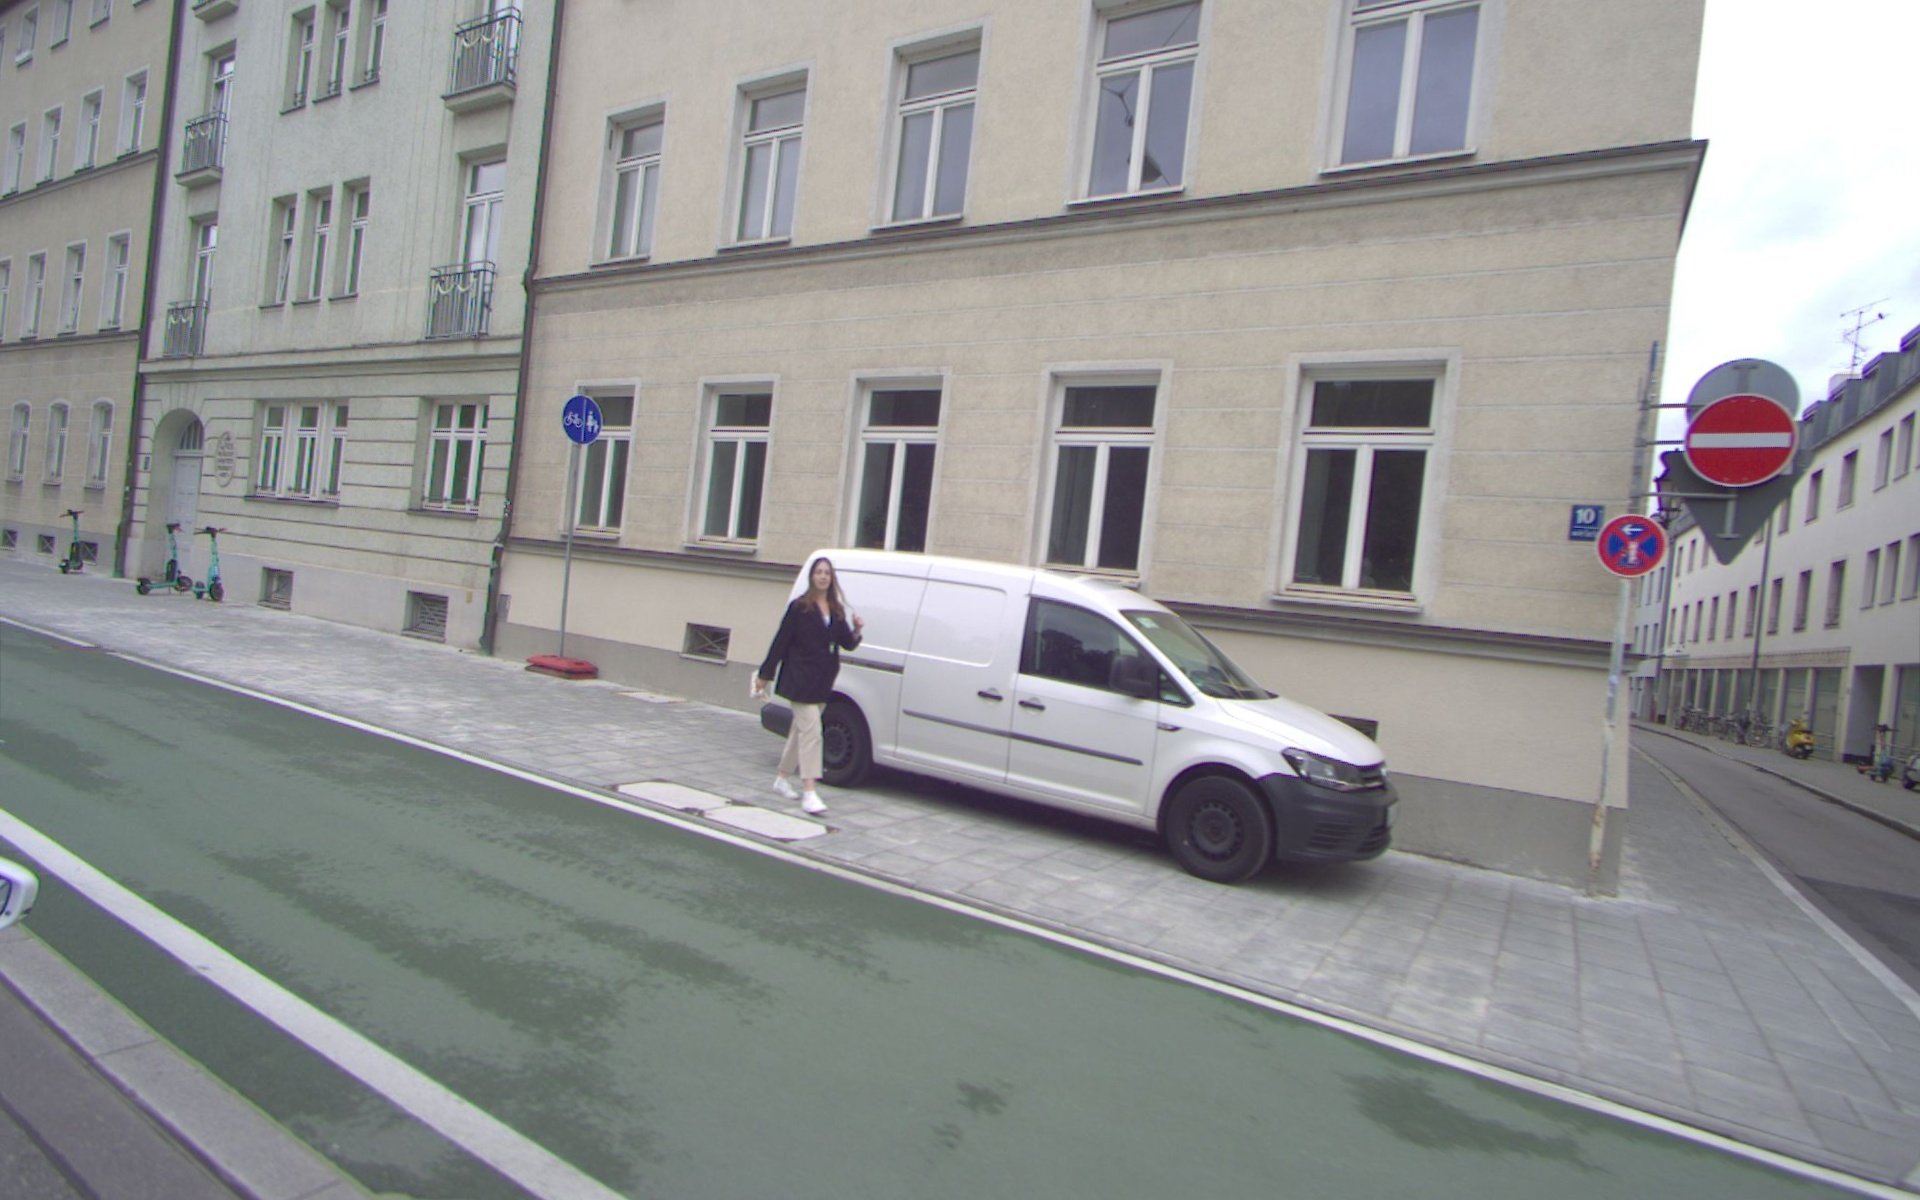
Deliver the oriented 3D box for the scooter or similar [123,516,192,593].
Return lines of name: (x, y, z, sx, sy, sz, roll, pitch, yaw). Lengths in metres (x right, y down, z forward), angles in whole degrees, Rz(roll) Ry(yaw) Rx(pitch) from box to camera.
scooter or similar: (-13.794, -0.763, 17.307, 0.242, 1.247, 1.118, 5, 1, -2)

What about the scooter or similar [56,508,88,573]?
scooter or similar: (-17.768, -1.197, 20.135, 0.244, 1.247, 1.110, 4, 2, -32)

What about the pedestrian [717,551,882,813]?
pedestrian: (-1.109, 0.544, 6.982, 0.725, 1.657, 0.665, 7, 2, 31)

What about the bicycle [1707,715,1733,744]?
bicycle: (30.633, 5.202, 40.540, 0.304, 1.029, 1.775, 7, -1, 23)

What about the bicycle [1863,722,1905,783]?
bicycle: (21.148, 3.485, 23.042, 0.399, 1.270, 1.771, 7, -2, 37)

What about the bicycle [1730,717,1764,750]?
bicycle: (28.833, 4.881, 36.861, 0.397, 1.029, 1.776, 7, -1, 22)

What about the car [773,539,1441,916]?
car: (0.934, 0.678, 7.354, 4.362, 1.772, 1.735, 7, 1, 32)

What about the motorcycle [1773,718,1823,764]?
motorcycle: (25.799, 4.325, 31.003, 0.619, 1.208, 2.539, 7, -1, 30)

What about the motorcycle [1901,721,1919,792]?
motorcycle: (20.070, 3.243, 20.617, 0.718, 1.397, 2.696, 7, 0, 37)

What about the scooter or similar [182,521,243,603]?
scooter or similar: (-12.718, -0.647, 17.102, 1.101, 1.289, 0.387, 6, 2, 31)
